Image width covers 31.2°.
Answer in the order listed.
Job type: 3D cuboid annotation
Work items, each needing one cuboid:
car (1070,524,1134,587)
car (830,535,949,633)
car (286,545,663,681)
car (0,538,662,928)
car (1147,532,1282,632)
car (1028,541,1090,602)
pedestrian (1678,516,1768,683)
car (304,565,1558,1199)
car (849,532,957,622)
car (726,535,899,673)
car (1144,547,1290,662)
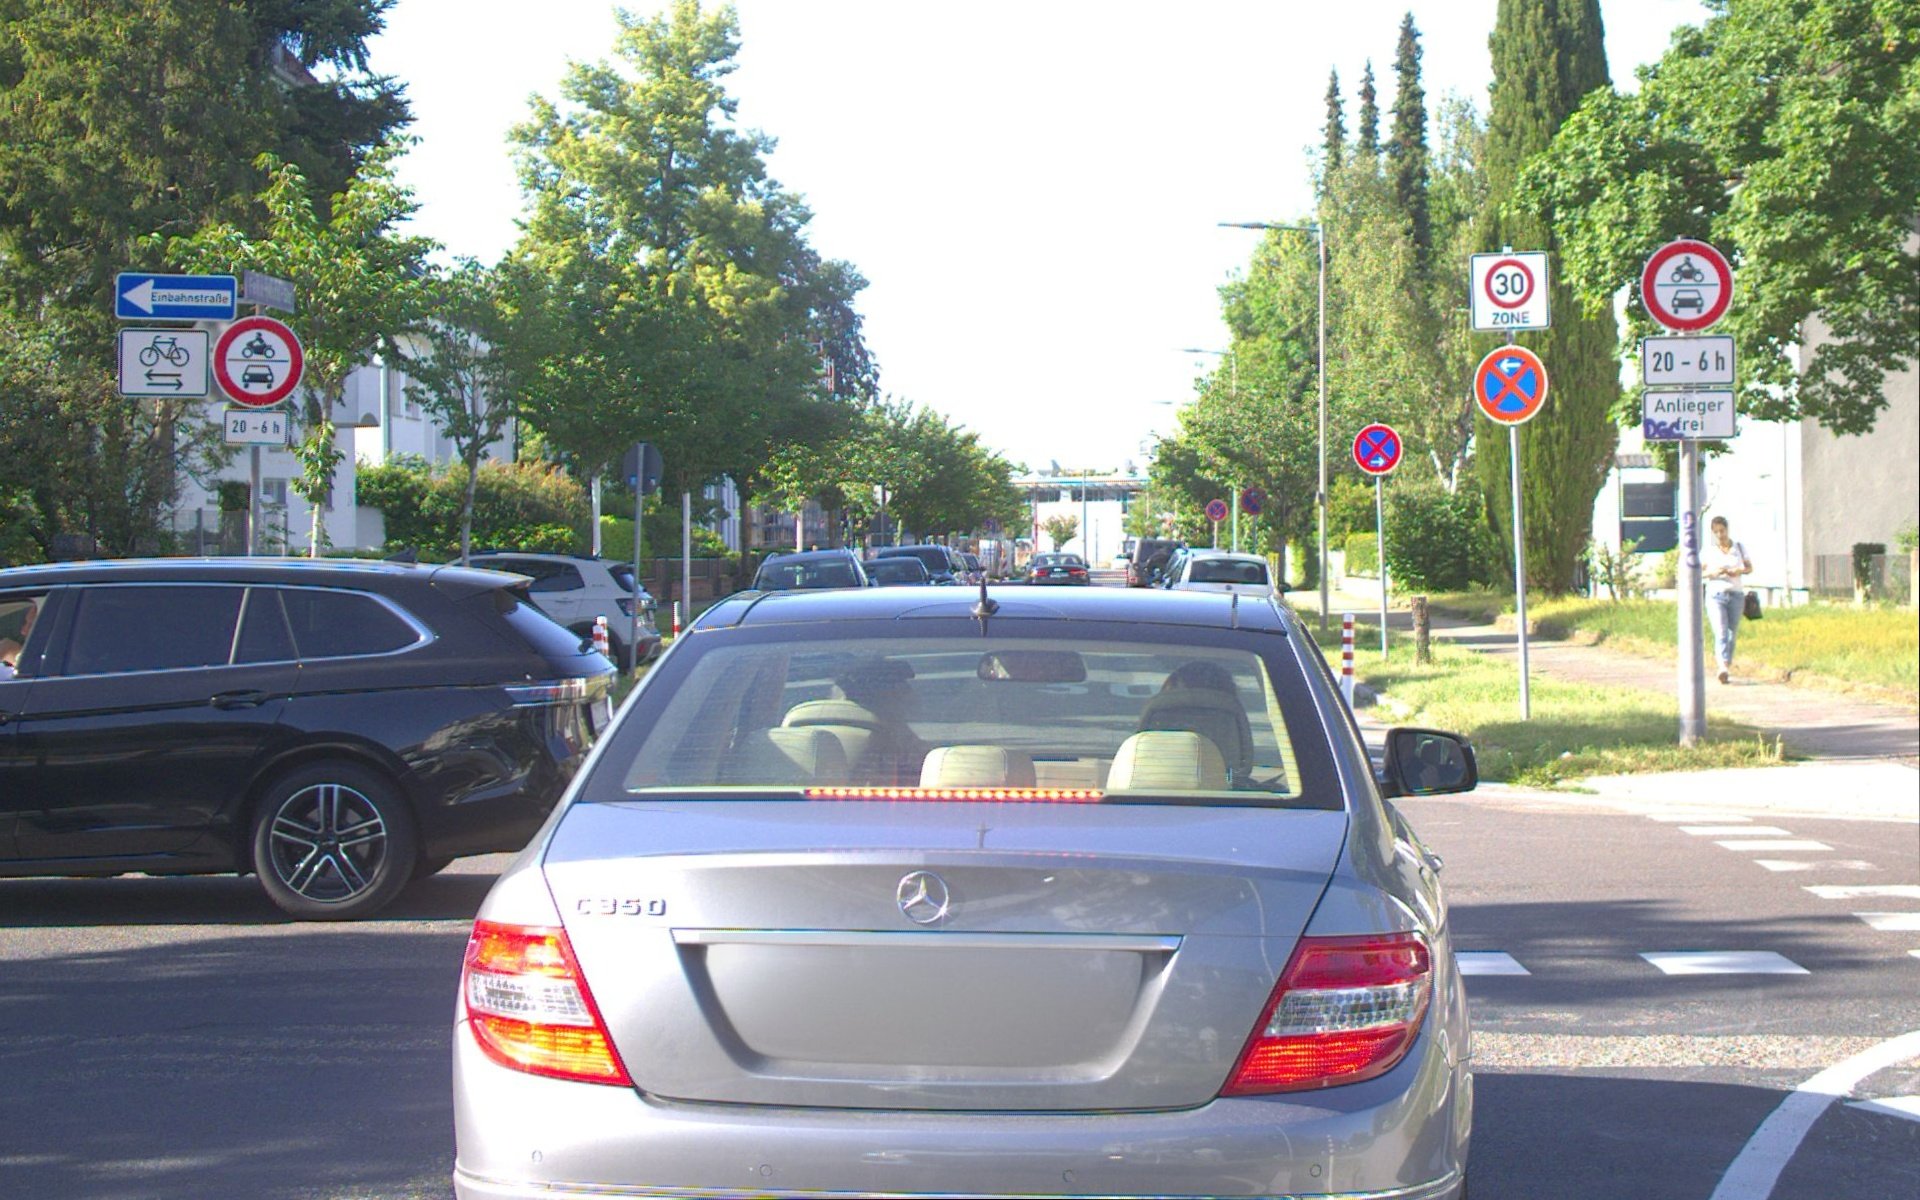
[{"bbox_3d":[4.245,-1.349,103.133,1.855,1.835,4.000,-1,1,2],"label":"car"},{"bbox_3d":[-1.264,-0.317,63.285,1.993,1.604,4.000,-4,1,0],"label":"car"},{"bbox_3d":[-5.669,0.134,40.490,4.192,1.558,1.842,0,1,-1],"label":"car"},{"bbox_3d":[-3.746,0.531,14.736,4.740,1.519,2.000,-1,1,0],"label":"car"},{"bbox_3d":[4.277,-0.339,58.344,1.993,1.604,4.000,-1,1,0],"label":"car"},{"bbox_3d":[2.709,-0.802,94.529,1.597,1.604,3.644,-1,1,0],"label":"car"},{"bbox_3d":[7.469,-0.012,33.668,0.766,1.605,0.834,-1,1,7],"label":"pedestrian"},{"bbox_3d":[0.062,0.659,7.029,1.836,1.436,4.000,0,1,3],"label":"car"},{"bbox_3d":[-1.114,-0.485,69.076,1.993,1.604,4.000,-4,1,0],"label":"car"},{"bbox_3d":[-1.904,0.015,45.490,1.993,1.604,4.000,-4,1,0],"label":"car"},{"bbox_3d":[3.514,0.031,47.524,1.733,1.474,3.725,-1,1,0],"label":"car"}]
